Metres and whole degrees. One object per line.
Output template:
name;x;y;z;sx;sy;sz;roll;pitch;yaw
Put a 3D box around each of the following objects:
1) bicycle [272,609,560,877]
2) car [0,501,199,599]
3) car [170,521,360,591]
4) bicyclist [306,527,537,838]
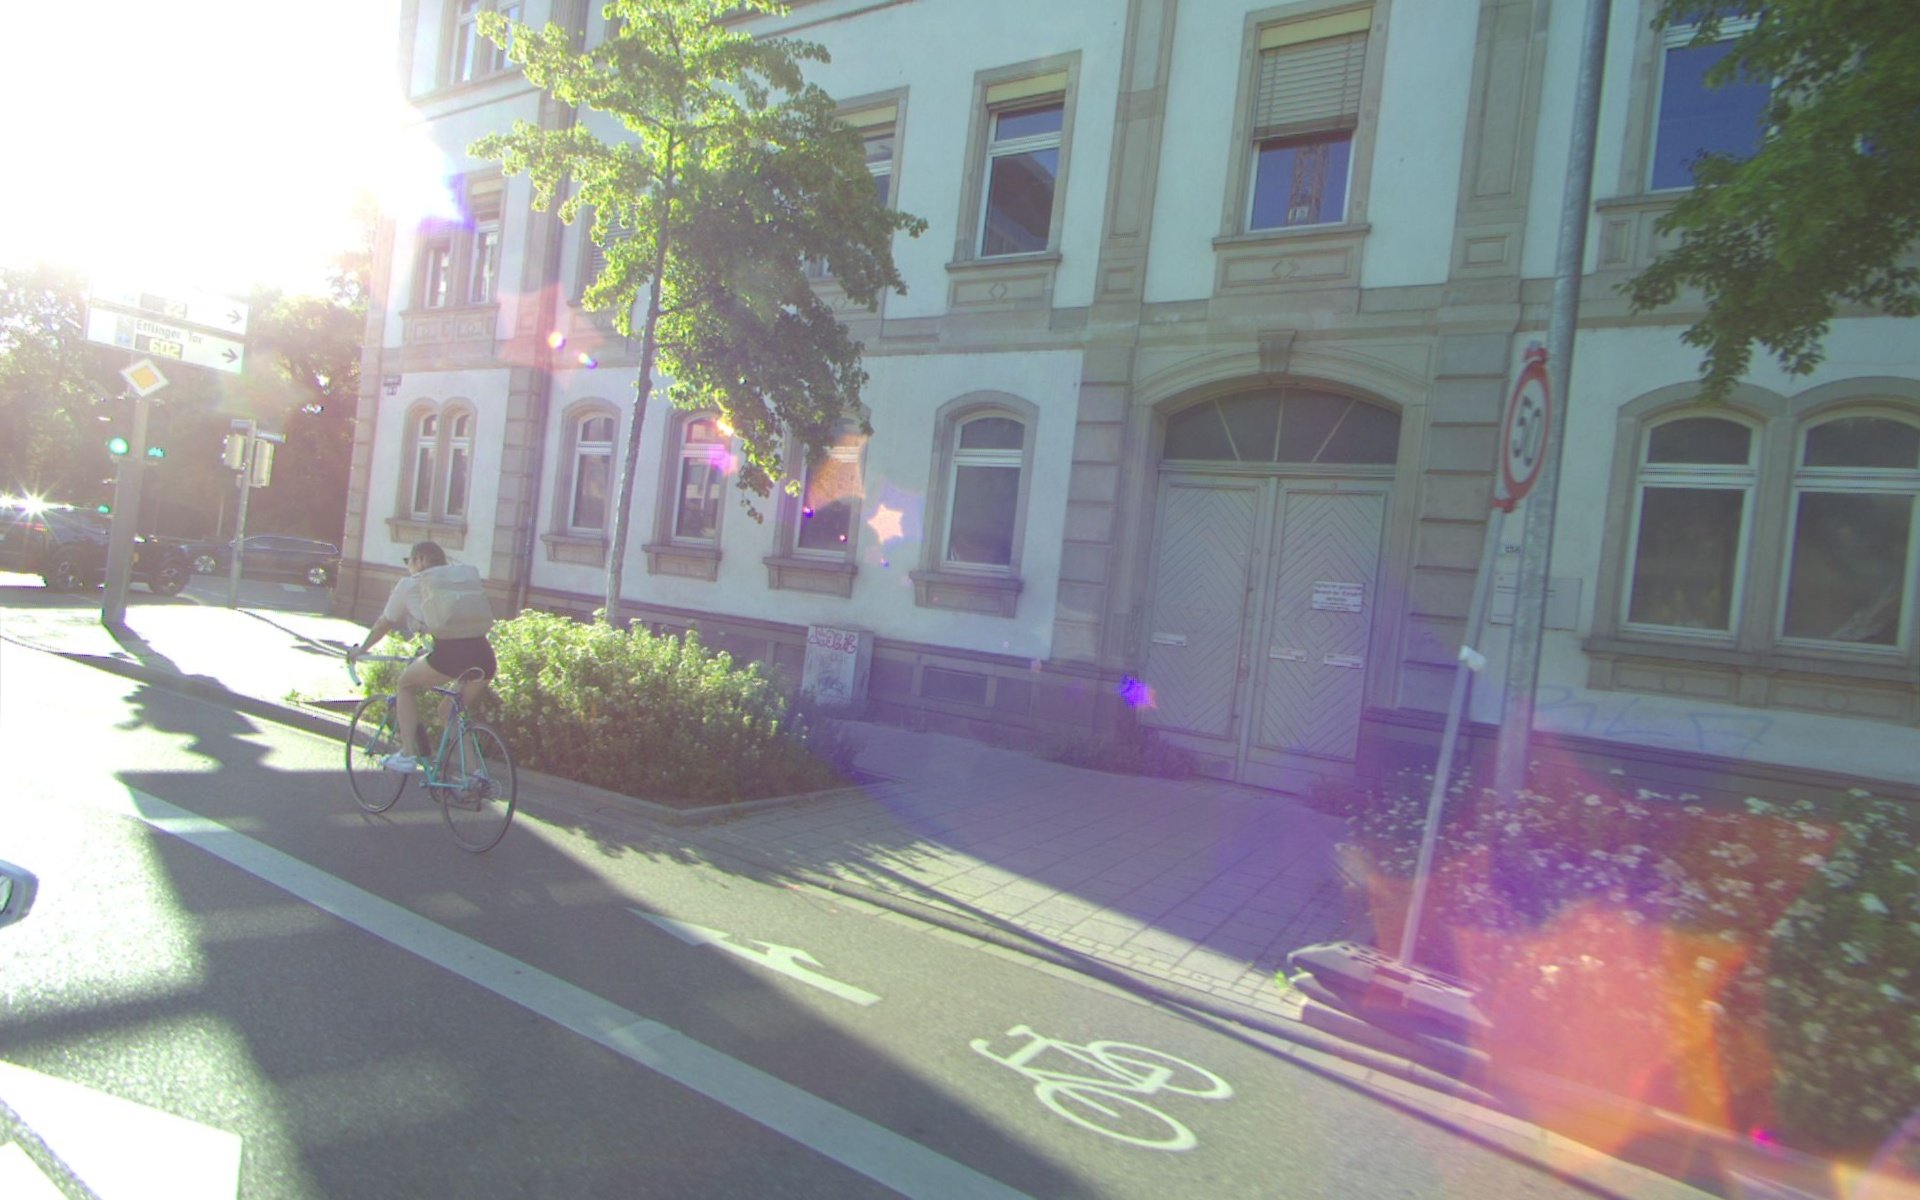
bicycle;-3.053;0.717;5.570;1.813;1.111;0.521;7;0;34
car;-16.964;-0.939;19.203;1.869;1.545;4.057;7;-1;-5
car;-21.130;-1.299;30.807;4.558;1.491;1.886;7;-1;-34
bicyclist;-2.988;0.416;5.562;1.064;1.509;0.553;7;0;34
